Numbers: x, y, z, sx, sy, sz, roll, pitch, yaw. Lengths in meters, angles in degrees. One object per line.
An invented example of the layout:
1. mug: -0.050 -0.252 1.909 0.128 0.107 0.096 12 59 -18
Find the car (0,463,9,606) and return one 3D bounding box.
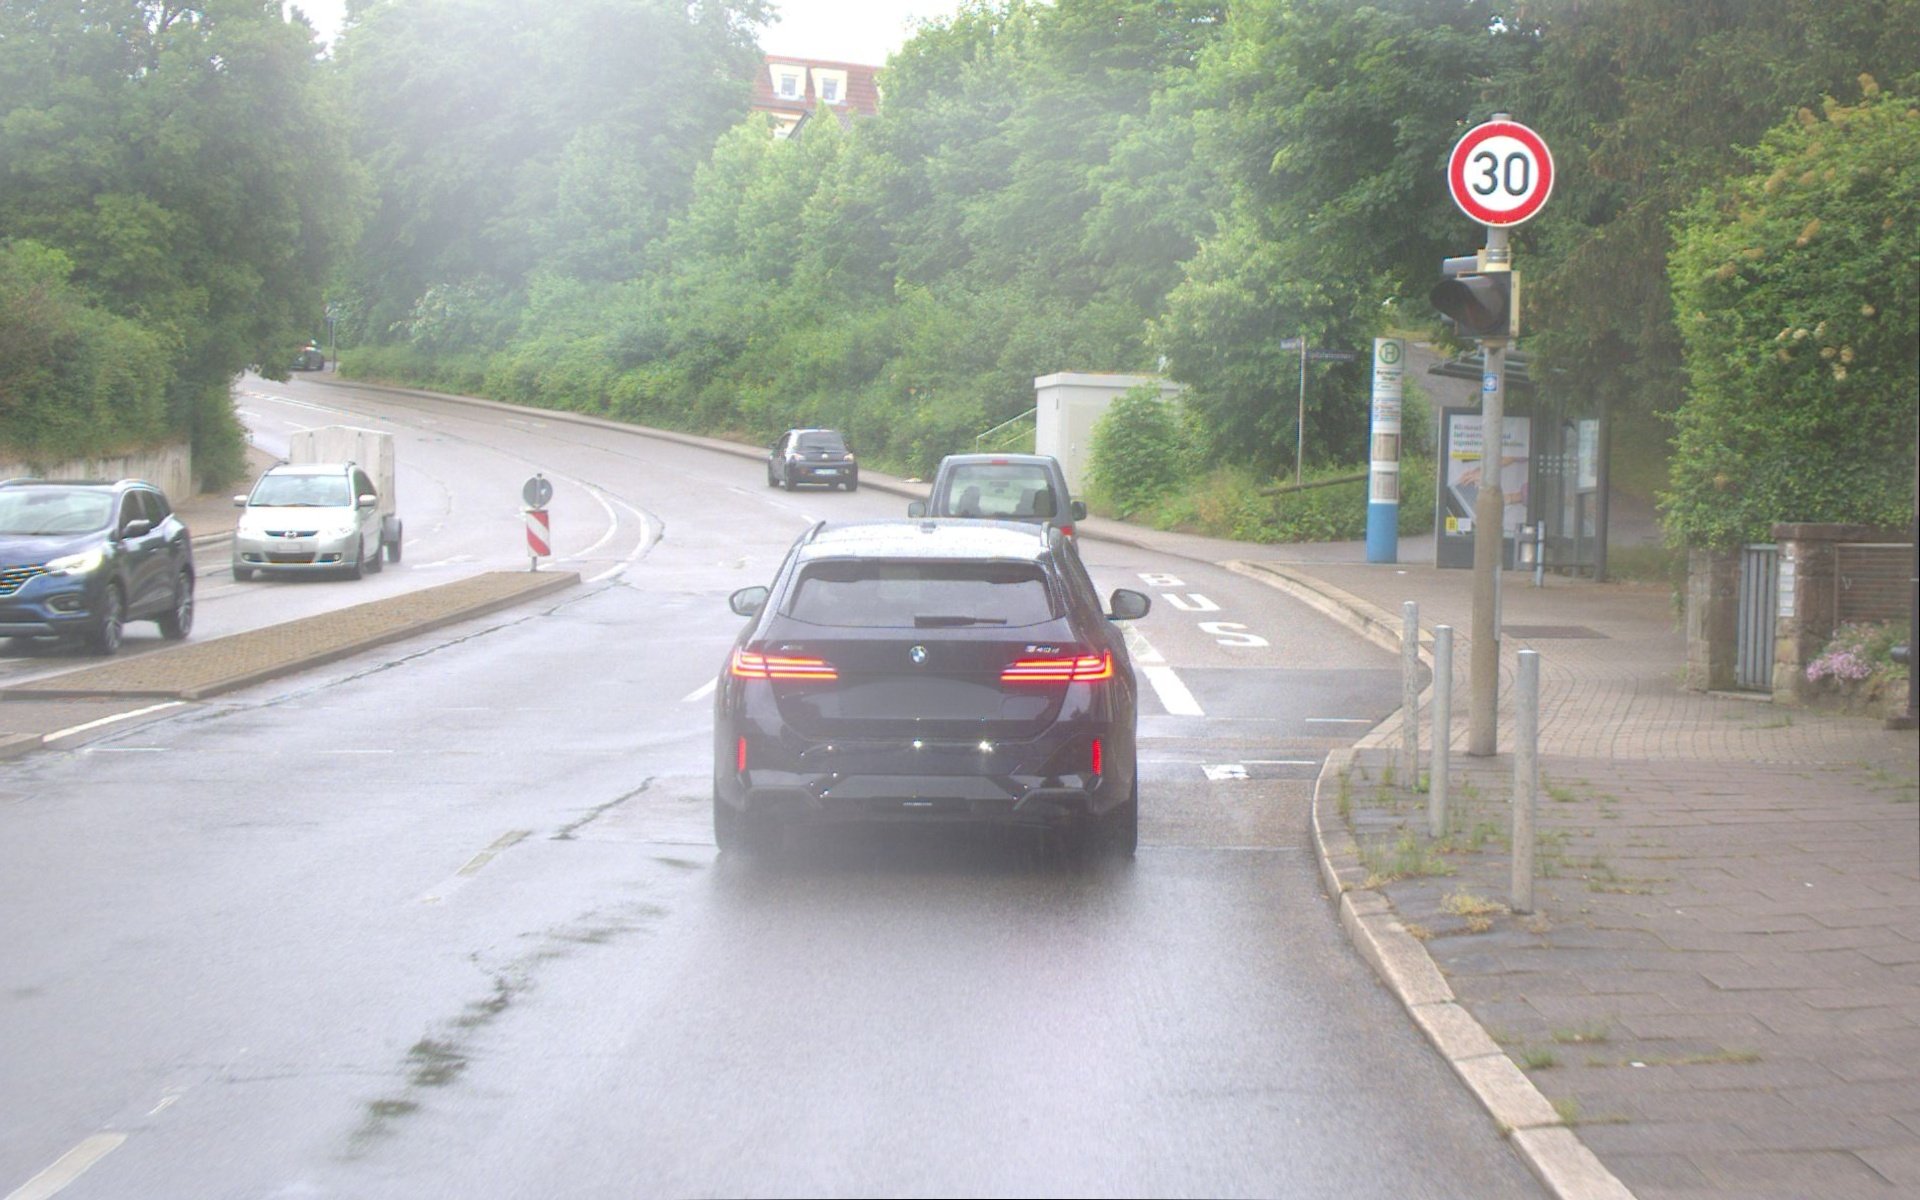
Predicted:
1. car: -12.059 -0.709 37.650 1.824 1.651 4.466 0 1 3

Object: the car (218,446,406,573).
1. car: -9.162 -1.330 48.938 1.899 1.677 4.480 1 3 -1

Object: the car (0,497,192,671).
1. car: -8.664 -0.196 32.893 1.841 1.546 4.385 0 1 -3

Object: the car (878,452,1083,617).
1. car: 0.172 -0.766 38.365 1.993 1.742 4.001 0 2 -4

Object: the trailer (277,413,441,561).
1. trailer: -9.254 -1.748 53.205 1.896 2.171 4.036 1 2 -1

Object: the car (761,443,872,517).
1. car: -3.453 -2.884 82.021 1.850 1.656 4.002 1 2 -14

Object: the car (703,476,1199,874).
1. car: -0.164 0.319 16.403 1.993 1.581 4.663 2 0 -3
